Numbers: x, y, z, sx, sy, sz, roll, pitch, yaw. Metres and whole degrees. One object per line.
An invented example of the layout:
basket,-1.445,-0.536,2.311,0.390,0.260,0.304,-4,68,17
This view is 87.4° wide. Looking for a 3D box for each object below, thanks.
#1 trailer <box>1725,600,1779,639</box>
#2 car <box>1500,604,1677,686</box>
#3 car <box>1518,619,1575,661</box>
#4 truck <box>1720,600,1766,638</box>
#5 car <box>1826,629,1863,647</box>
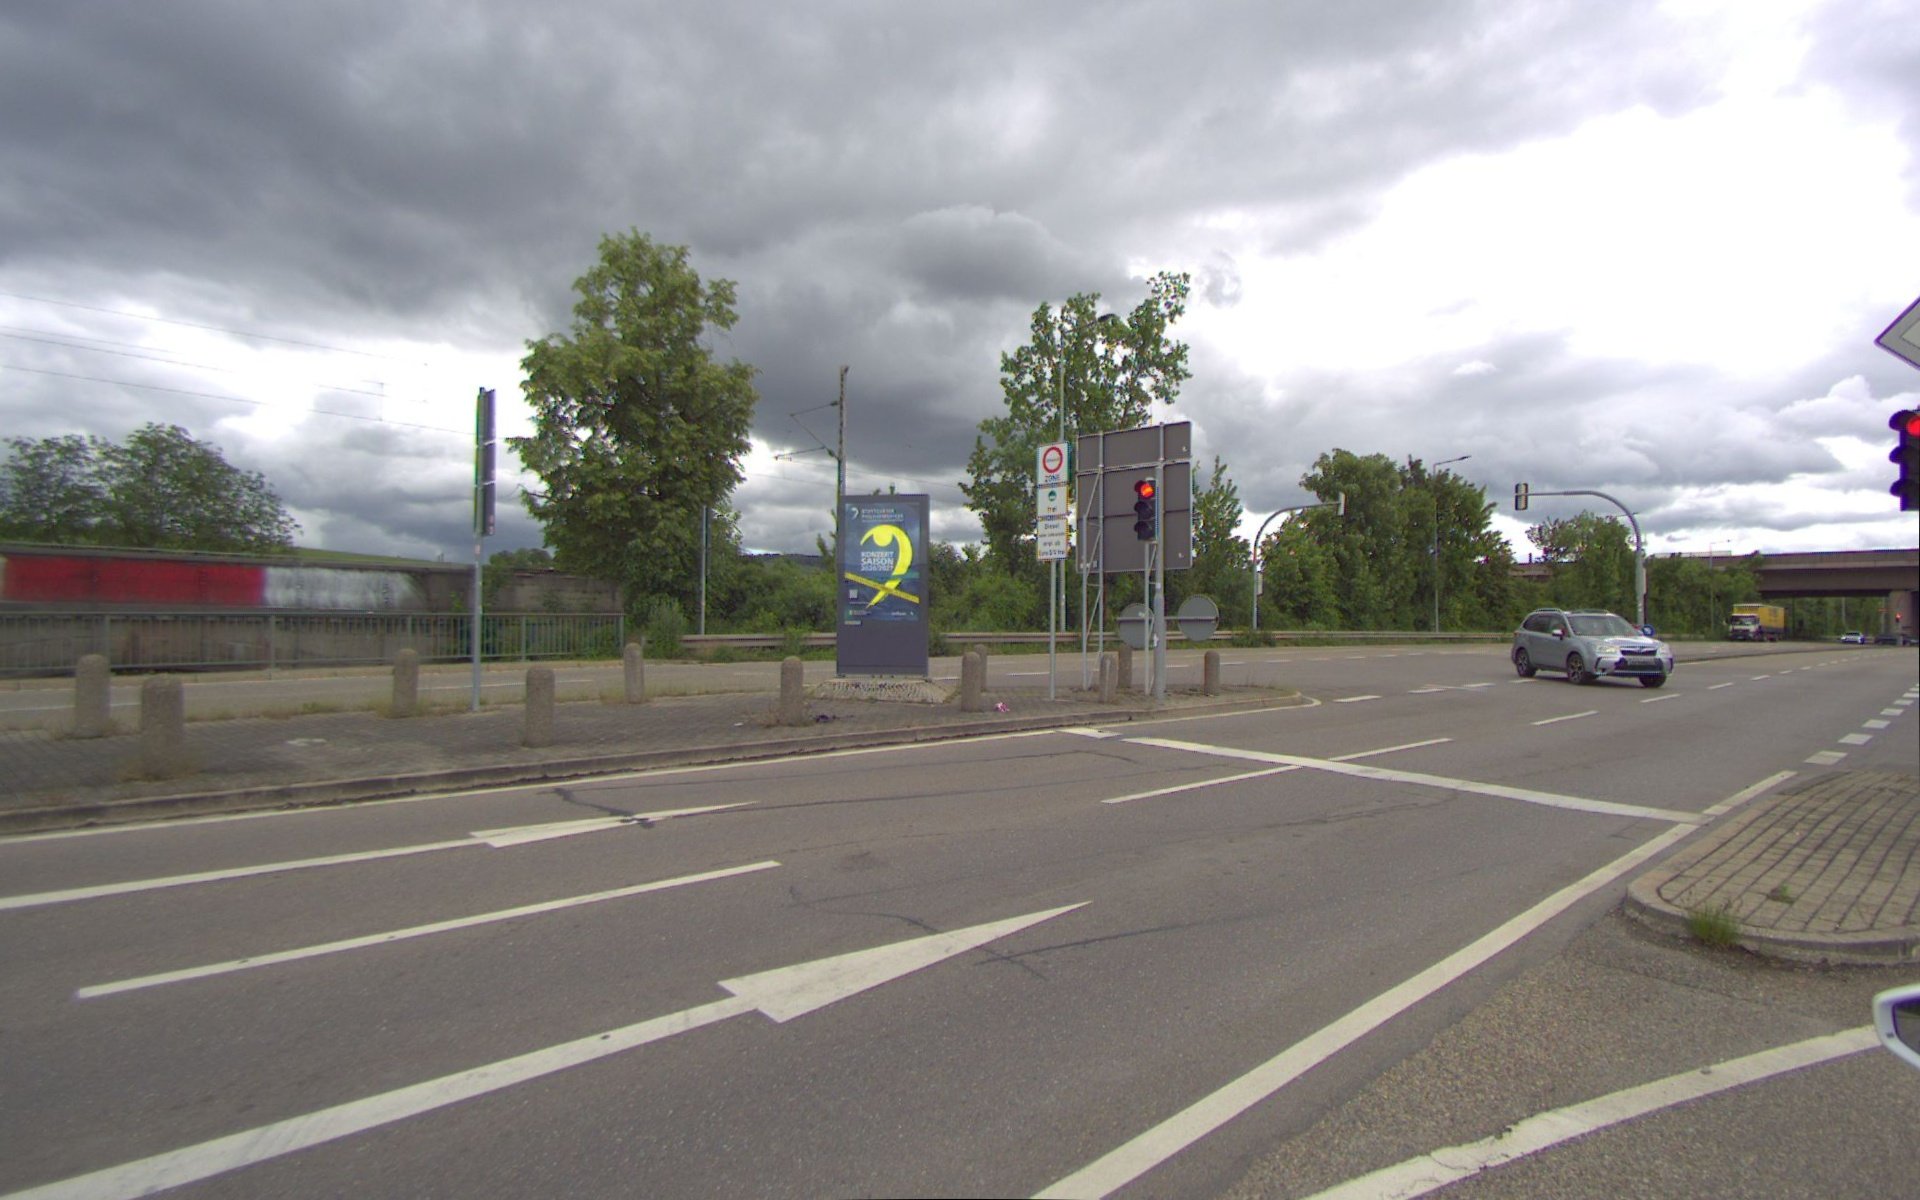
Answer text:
trailer,91.793,2.233,116.322,11.340,4.139,2.845,1,1,-42
car,14.735,1.013,23.880,1.695,1.760,4.558,0,-1,5
car,21.247,1.417,36.443,1.699,1.419,4.059,0,-1,30
truck,87.901,2.102,112.759,6.438,4.139,2.846,1,2,-42
car,106.190,4.562,120.607,1.961,1.885,3.998,3,2,21
